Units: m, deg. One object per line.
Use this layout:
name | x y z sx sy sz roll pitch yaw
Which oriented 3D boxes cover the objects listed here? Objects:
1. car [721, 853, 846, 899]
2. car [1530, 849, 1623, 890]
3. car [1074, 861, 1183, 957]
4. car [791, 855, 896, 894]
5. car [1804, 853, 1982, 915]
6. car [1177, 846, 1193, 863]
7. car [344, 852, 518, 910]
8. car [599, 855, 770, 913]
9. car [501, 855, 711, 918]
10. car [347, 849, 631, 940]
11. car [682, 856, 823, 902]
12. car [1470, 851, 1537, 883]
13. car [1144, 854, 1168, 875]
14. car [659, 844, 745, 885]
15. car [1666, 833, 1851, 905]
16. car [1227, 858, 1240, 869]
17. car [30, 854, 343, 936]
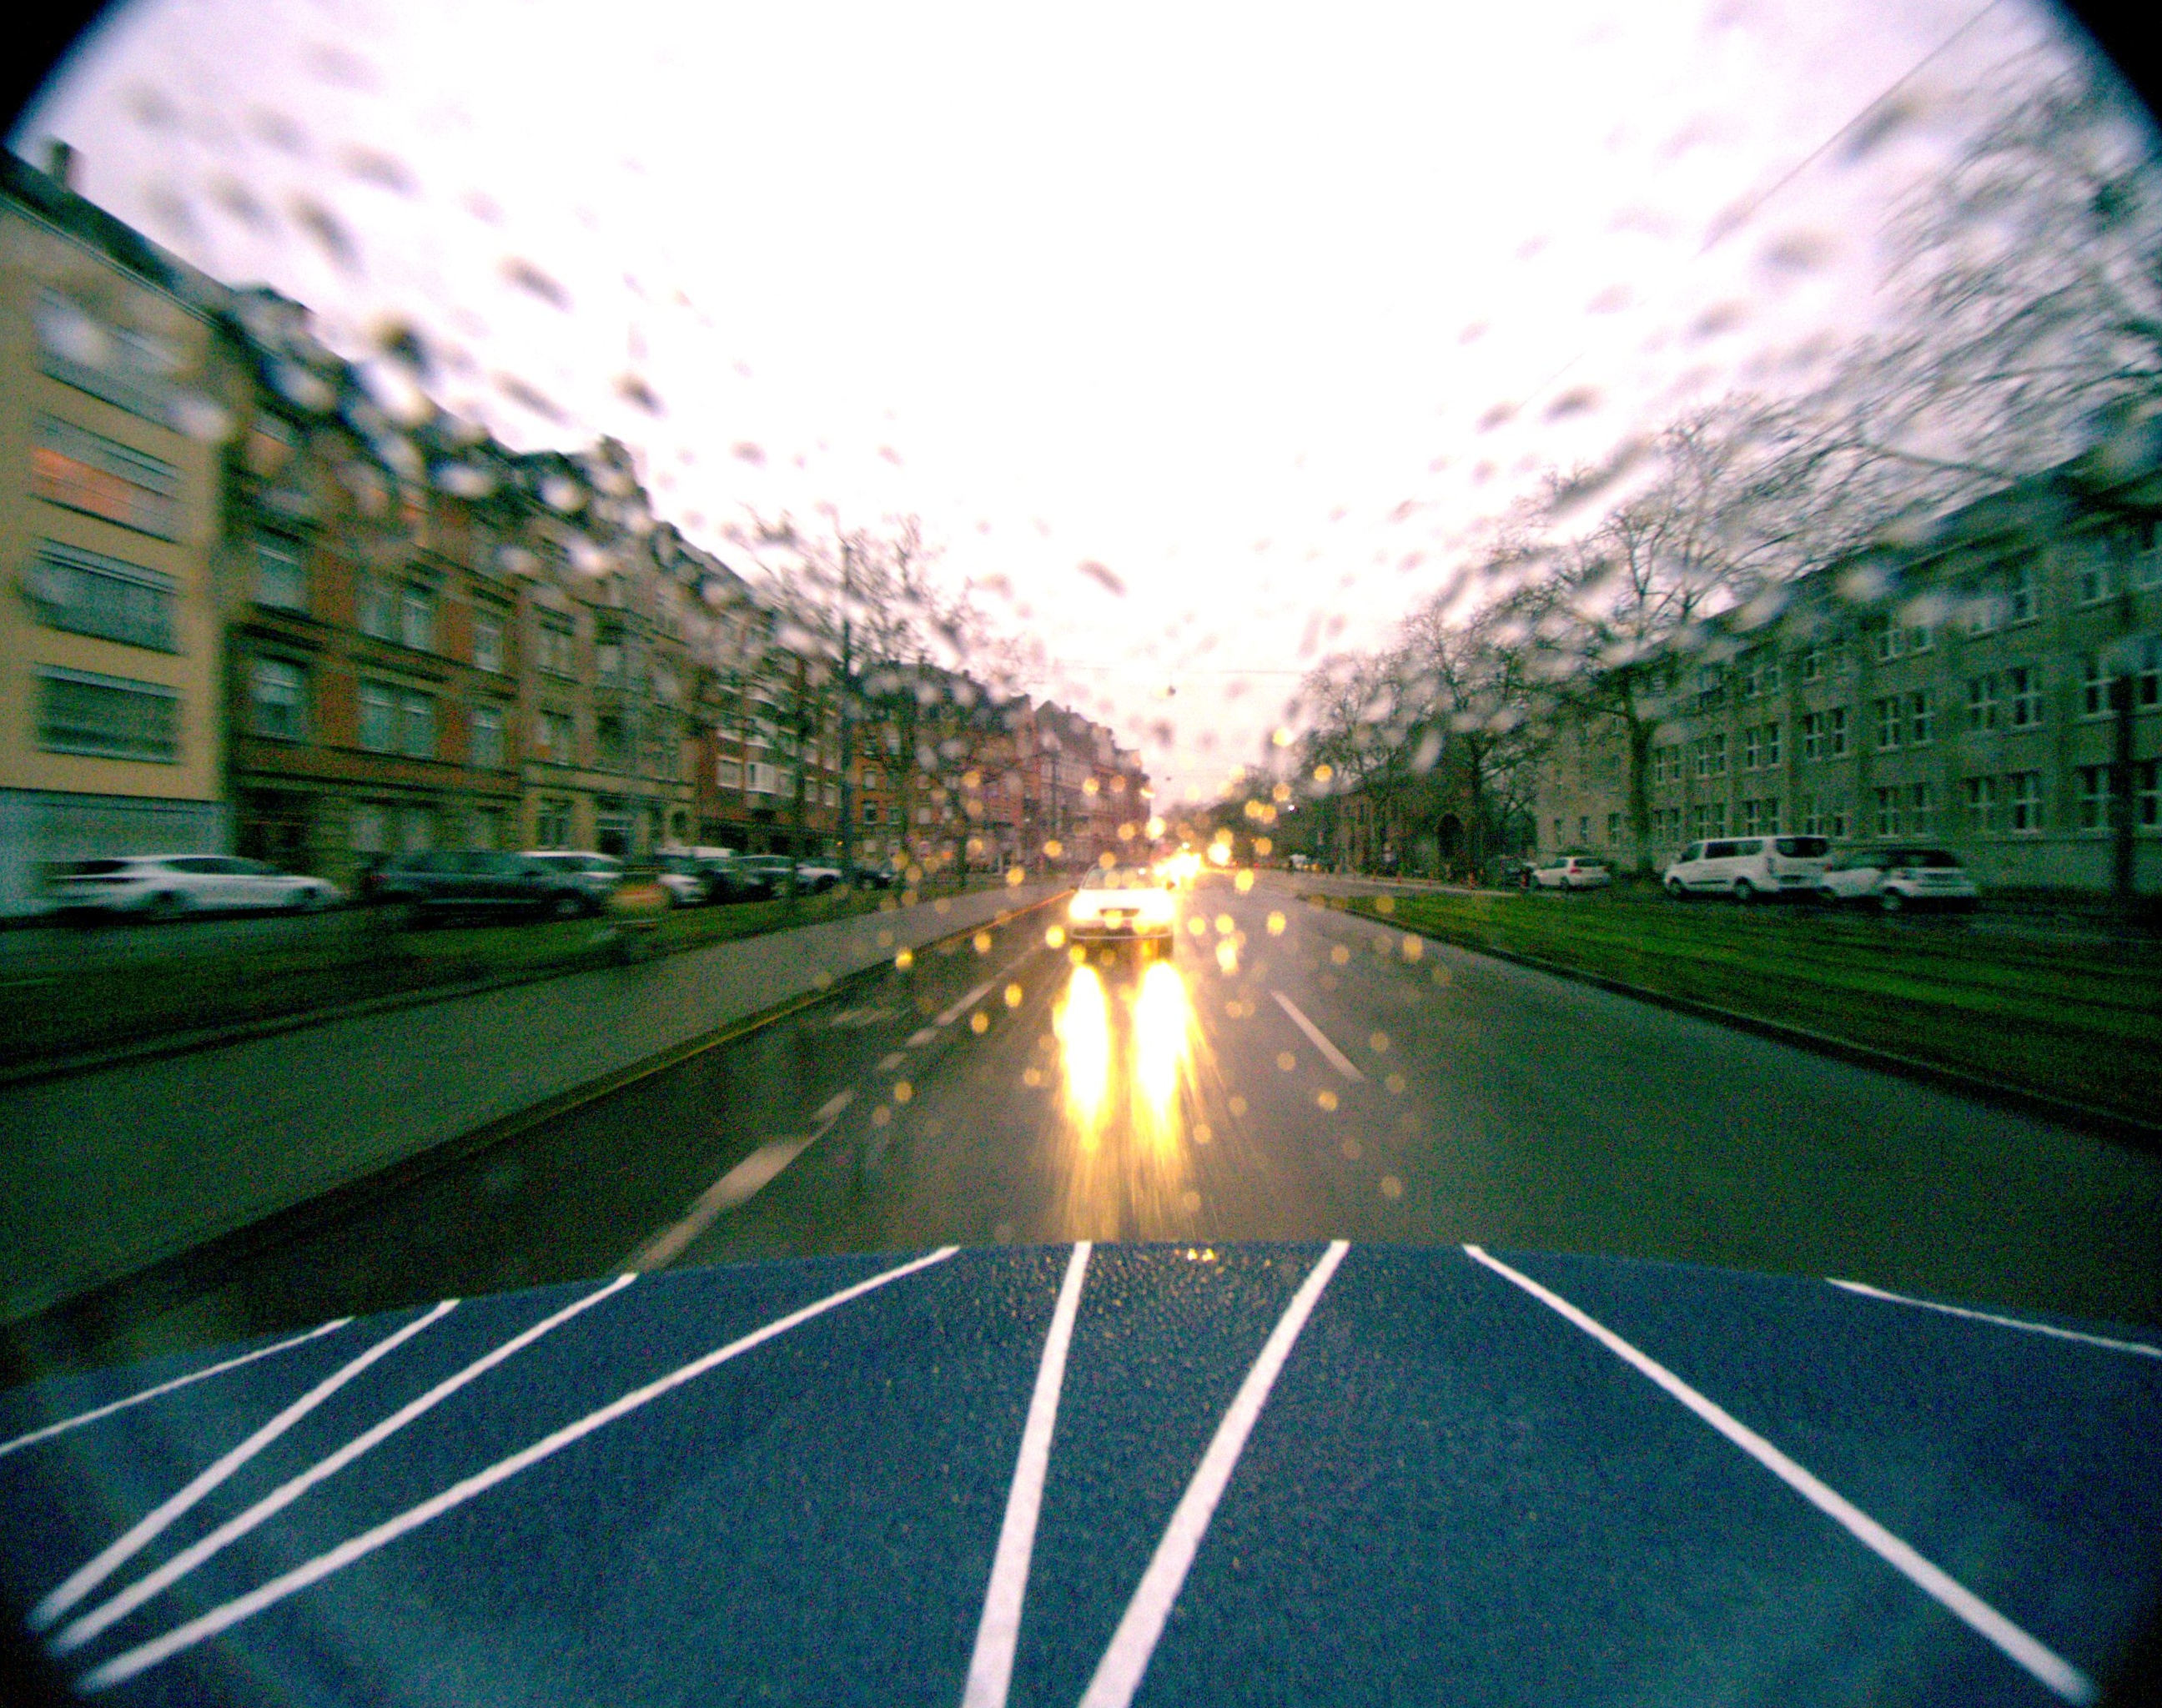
car | -9.990 0.714 25.761 3.769 1.346 1.599 -2 1 -19
car | 22.090 0.629 34.063 1.825 1.645 3.860 -2 1 5
car | 0.801 0.903 14.040 1.715 1.405 3.679 -2 1 1
car | -9.282 0.770 29.765 3.769 1.346 1.599 -2 1 -19
car | 20.633 0.706 19.477 1.559 1.420 2.956 0 1 6
car | 15.729 0.031 114.688 2.128 2.366 5.642 -2 1 9
car | -18.861 0.732 22.289 1.472 1.534 3.874 0 0 8
car | -10.363 0.750 20.148 3.769 1.324 1.599 -2 1 -19
car | -10.619 0.695 17.282 3.770 1.325 1.599 0 1 -19
car | -10.899 0.680 14.369 3.878 1.398 1.691 -3 1 -24
car | -9.828 0.719 22.841 3.771 1.270 1.598 0 0 -25
car | 22.422 0.659 40.483 1.615 1.650 3.611 0 0 1
car | 5.355 0.734 54.539 1.589 1.418 3.135 0 0 4
car | -17.055 0.455 34.397 1.672 1.694 3.467 -2 1 10
car | 21.029 0.397 23.886 1.998 2.002 4.510 -2 1 5
car | 26.028 1.627 129.533 1.950 1.804 4.004 0 0 13
car | -19.456 0.807 16.881 1.750 1.469 4.179 -2 1 6
